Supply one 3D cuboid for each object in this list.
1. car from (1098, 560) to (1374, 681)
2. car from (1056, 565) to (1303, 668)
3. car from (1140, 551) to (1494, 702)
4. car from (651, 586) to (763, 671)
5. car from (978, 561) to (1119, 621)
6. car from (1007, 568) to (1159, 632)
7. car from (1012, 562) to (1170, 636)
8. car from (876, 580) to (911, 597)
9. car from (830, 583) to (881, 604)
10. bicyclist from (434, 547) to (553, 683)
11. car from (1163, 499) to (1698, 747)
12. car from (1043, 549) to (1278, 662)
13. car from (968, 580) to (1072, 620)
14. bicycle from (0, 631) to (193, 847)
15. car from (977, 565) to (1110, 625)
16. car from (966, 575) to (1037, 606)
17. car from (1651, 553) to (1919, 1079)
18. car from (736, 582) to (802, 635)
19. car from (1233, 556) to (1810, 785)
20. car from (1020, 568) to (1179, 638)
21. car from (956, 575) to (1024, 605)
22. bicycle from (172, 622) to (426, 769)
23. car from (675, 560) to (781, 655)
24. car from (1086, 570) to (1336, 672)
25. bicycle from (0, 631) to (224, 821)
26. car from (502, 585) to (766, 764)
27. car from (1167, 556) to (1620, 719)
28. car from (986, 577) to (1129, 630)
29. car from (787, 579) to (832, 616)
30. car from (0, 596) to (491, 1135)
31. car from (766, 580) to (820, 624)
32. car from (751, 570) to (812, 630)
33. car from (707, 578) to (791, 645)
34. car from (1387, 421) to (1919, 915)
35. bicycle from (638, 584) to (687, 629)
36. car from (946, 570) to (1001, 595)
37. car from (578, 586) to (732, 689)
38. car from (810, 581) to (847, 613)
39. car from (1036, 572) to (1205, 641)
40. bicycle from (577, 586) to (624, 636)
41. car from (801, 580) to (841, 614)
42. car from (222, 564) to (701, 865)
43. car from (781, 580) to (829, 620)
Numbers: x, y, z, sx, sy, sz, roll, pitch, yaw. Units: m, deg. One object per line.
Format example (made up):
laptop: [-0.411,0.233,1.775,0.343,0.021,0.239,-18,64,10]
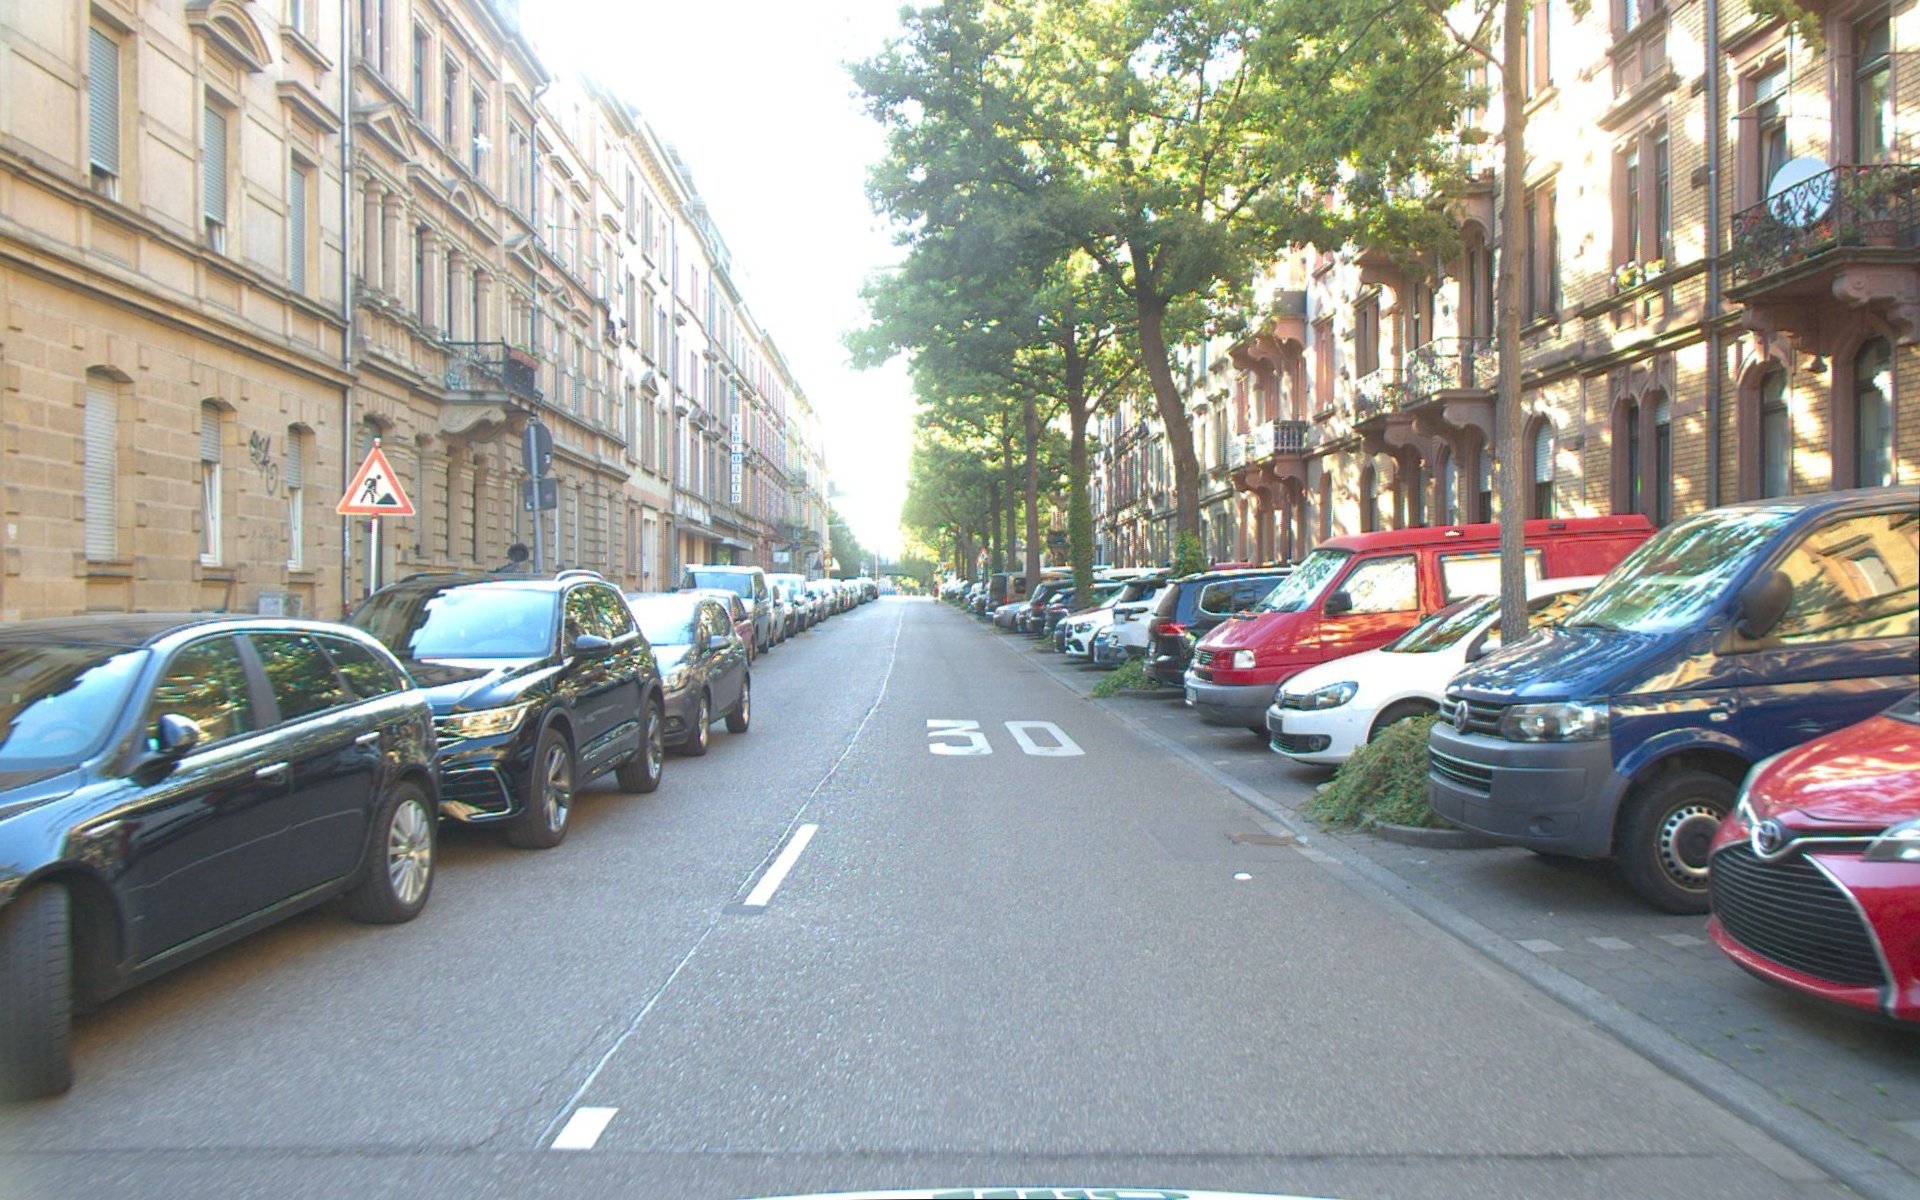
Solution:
car: [4.277,0.301,25.999,3.931,1.656,1.804,-3,0,-4]
car: [4.030,0.280,30.817,4.258,1.583,1.849,-3,2,-3]
car: [4.468,0.321,21.152,4.100,1.656,1.838,-3,0,1]
car: [-4.828,0.501,32.002,1.560,1.501,3.699,1,1,0]
car: [3.216,-0.337,60.617,4.955,1.959,1.834,-3,1,-2]
car: [3.609,-0.012,48.879,4.144,1.639,1.831,-3,1,-10]
car: [3.616,-0.043,46.173,4.137,1.807,1.834,-3,1,-3]
car: [-7.780,-1.326,193.674,3.902,1.891,1.752,0,1,6]
car: [-7.851,-0.486,125.044,1.956,1.512,3.992,-2,-1,30]
bicyclist: [-6.429,0.190,22.839,0.976,1.821,1.206,-1,1,27]
car: [4.469,0.195,16.120,4.584,2.069,1.877,-3,0,-5]
car: [4.000,0.069,33.379,4.357,1.957,1.849,-3,2,-5]
car: [2.280,-0.021,63.446,3.776,1.316,1.716,-3,1,-5]
bicycle: [-5.346,0.755,9.266,1.829,1.148,0.528,1,0,0]
car: [2.866,-0.181,56.845,4.162,1.826,1.823,-3,1,-22]
car: [2.402,-0.568,95.490,3.780,1.601,1.714,-3,1,-10]
car: [4.803,0.622,5.825,4.022,1.561,1.724,0,0,-1]
car: [-5.722,0.215,49.981,1.723,1.492,3.998,1,1,-3]
car: [4.388,0.523,13.363,3.973,1.536,1.878,-3,0,-2]
car: [3.622,0.075,43.325,3.930,1.635,1.733,-3,0,-2]
car: [1.798,-0.603,100.115,3.780,1.601,1.714,-3,1,-10]
bicycle: [-5.363,0.769,13.476,1.829,1.148,0.528,1,0,-2]
car: [-5.188,0.126,37.663,1.795,1.977,5.258,1,1,-2]
car: [4.258,0.346,28.452,3.930,1.459,1.793,-3,0,-3]
bicycle: [-5.743,0.787,10.557,1.829,1.148,0.528,1,0,0]
car: [-3.112,0.642,16.626,1.722,1.527,4.061,-1,1,1]
car: [4.777,0.398,18.708,4.579,1.540,1.879,-3,0,0]
car: [2.990,0.089,51.233,4.141,1.428,1.832,-3,1,-7]
car: [-6.418,-0.117,70.821,1.723,1.498,4.057,-1,1,-3]
car: [-3.416,0.750,6.215,1.721,1.477,4.552,-1,0,4]
car: [-6.003,0.059,59.862,1.723,1.498,4.057,-1,1,-3]
car: [-5.877,-0.027,54.811,1.723,1.874,4.527,-1,1,-3]
car: [-5.484,0.273,43.429,1.718,1.636,4.382,1,1,-2]
car: [4.974,0.290,8.681,4.921,2.253,1.991,0,0,-3]
bicycle: [-9.412,0.177,52.508,1.021,1.341,3.998,0,1,-3]
car: [0.952,-1.232,117.830,3.773,1.601,1.717,-3,1,-3]
car: [-4.959,0.561,27.375,1.722,1.527,4.060,-1,1,1]
car: [-6.483,-0.150,81.845,1.723,1.498,4.057,-1,1,-3]
car: [3.929,0.159,40.950,3.930,1.493,1.733,-3,0,-2]
bicycle: [-9.440,0.268,43.482,0.725,1.277,2.826,0,1,-3]
car: [-6.467,-0.163,77.073,1.723,1.498,4.057,-1,1,-3]
car: [-3.115,0.607,11.421,1.722,1.628,4.552,-1,1,2]
car: [-6.169,-0.020,65.960,1.723,1.498,4.057,-1,1,-3]
